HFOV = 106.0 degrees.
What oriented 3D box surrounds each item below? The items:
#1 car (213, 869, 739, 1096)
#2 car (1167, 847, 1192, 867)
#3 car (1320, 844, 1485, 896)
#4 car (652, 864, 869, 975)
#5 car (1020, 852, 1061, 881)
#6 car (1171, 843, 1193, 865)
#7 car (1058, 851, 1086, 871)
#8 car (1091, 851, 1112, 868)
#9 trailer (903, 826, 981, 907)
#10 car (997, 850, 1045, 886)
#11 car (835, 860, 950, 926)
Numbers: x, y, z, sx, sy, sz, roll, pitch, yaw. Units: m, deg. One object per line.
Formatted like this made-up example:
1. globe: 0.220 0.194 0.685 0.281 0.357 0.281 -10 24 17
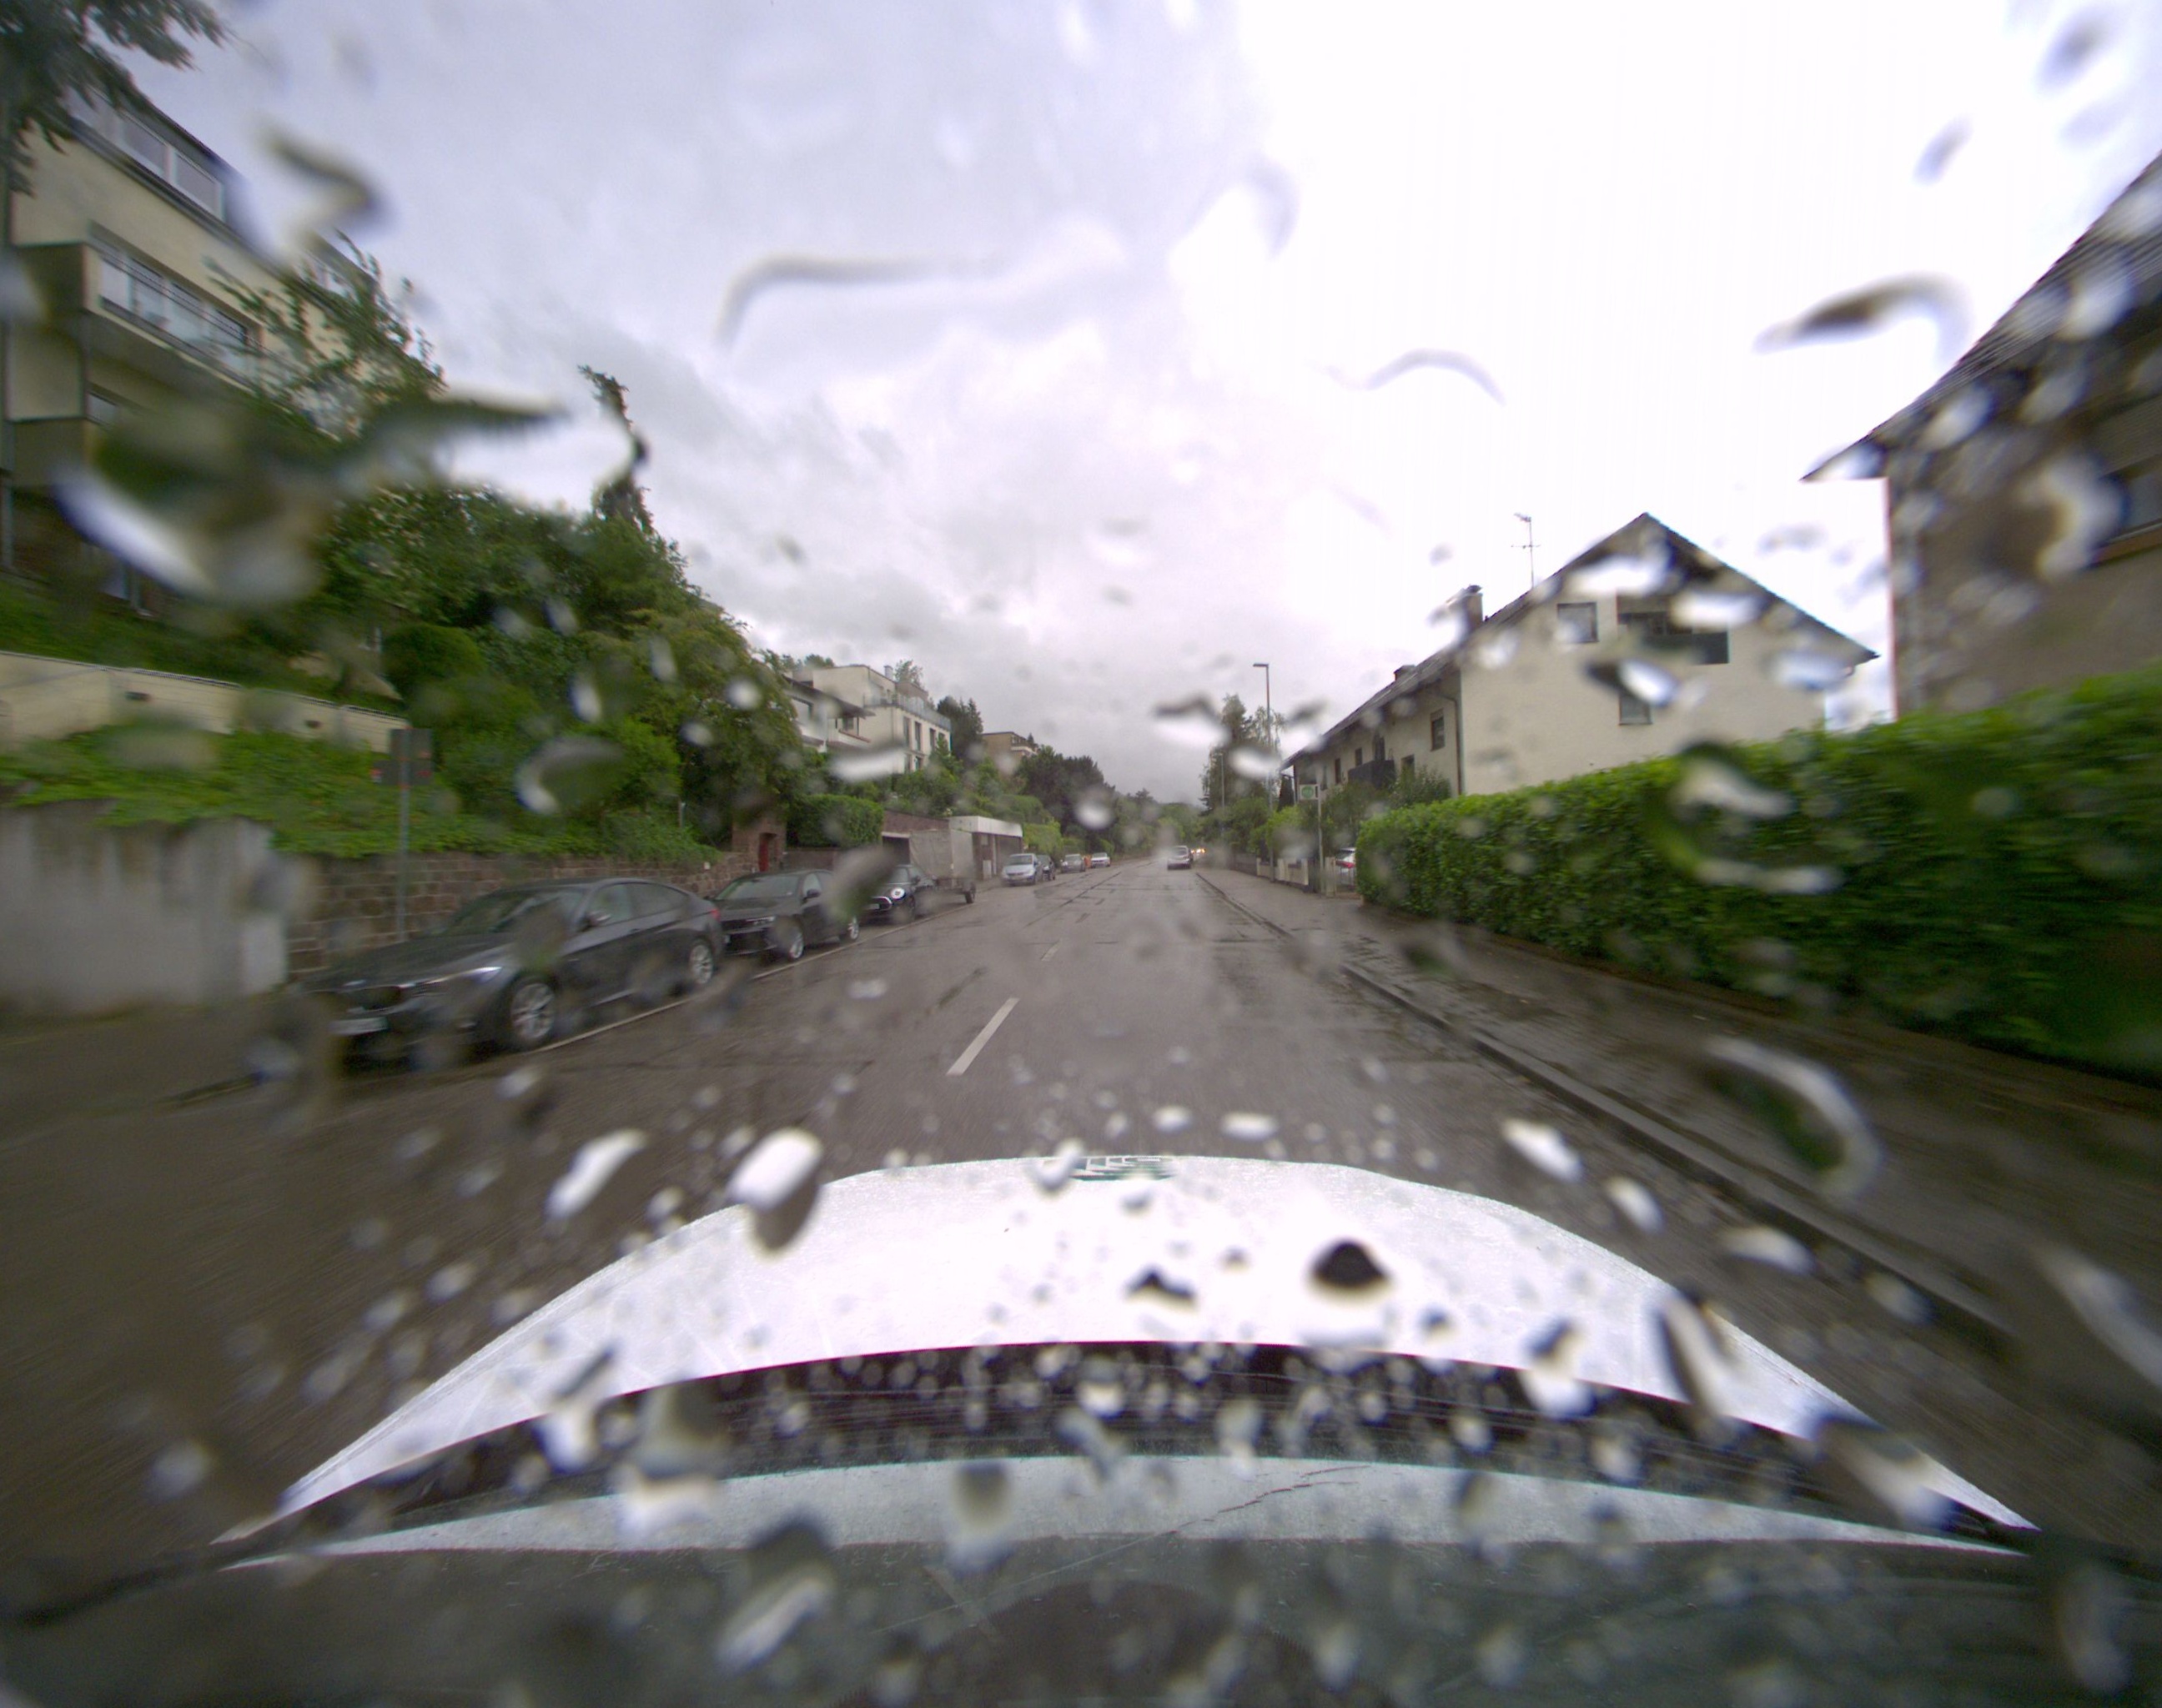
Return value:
1. car: -5.627 1.029 8.608 1.779 1.454 4.758 -4 1 2
2. car: 7.752 0.195 63.837 1.779 1.459 4.318 -2 0 8
3. car: 9.338 0.434 23.882 4.204 1.446 1.704 0 1 2
4. car: -5.251 0.988 14.031 1.778 1.415 4.221 -3 1 3
5. car: -2.264 0.678 46.738 1.748 1.409 3.710 -5 0 5
6. car: 8.614 -0.025 69.227 1.774 1.790 4.371 -2 0 8
7. car: -0.653 0.530 63.936 1.747 1.402 3.775 -5 0 5
8. car: 2.072 0.541 82.821 1.747 1.498 4.227 -3 0 6
9. trailer: -4.495 0.370 26.679 1.528 2.399 3.079 -4 0 7
10. car: -2.965 0.661 41.170 1.748 1.539 3.761 -5 0 5
11. car: -4.697 0.931 20.884 1.800 1.349 3.779 -3 1 3
